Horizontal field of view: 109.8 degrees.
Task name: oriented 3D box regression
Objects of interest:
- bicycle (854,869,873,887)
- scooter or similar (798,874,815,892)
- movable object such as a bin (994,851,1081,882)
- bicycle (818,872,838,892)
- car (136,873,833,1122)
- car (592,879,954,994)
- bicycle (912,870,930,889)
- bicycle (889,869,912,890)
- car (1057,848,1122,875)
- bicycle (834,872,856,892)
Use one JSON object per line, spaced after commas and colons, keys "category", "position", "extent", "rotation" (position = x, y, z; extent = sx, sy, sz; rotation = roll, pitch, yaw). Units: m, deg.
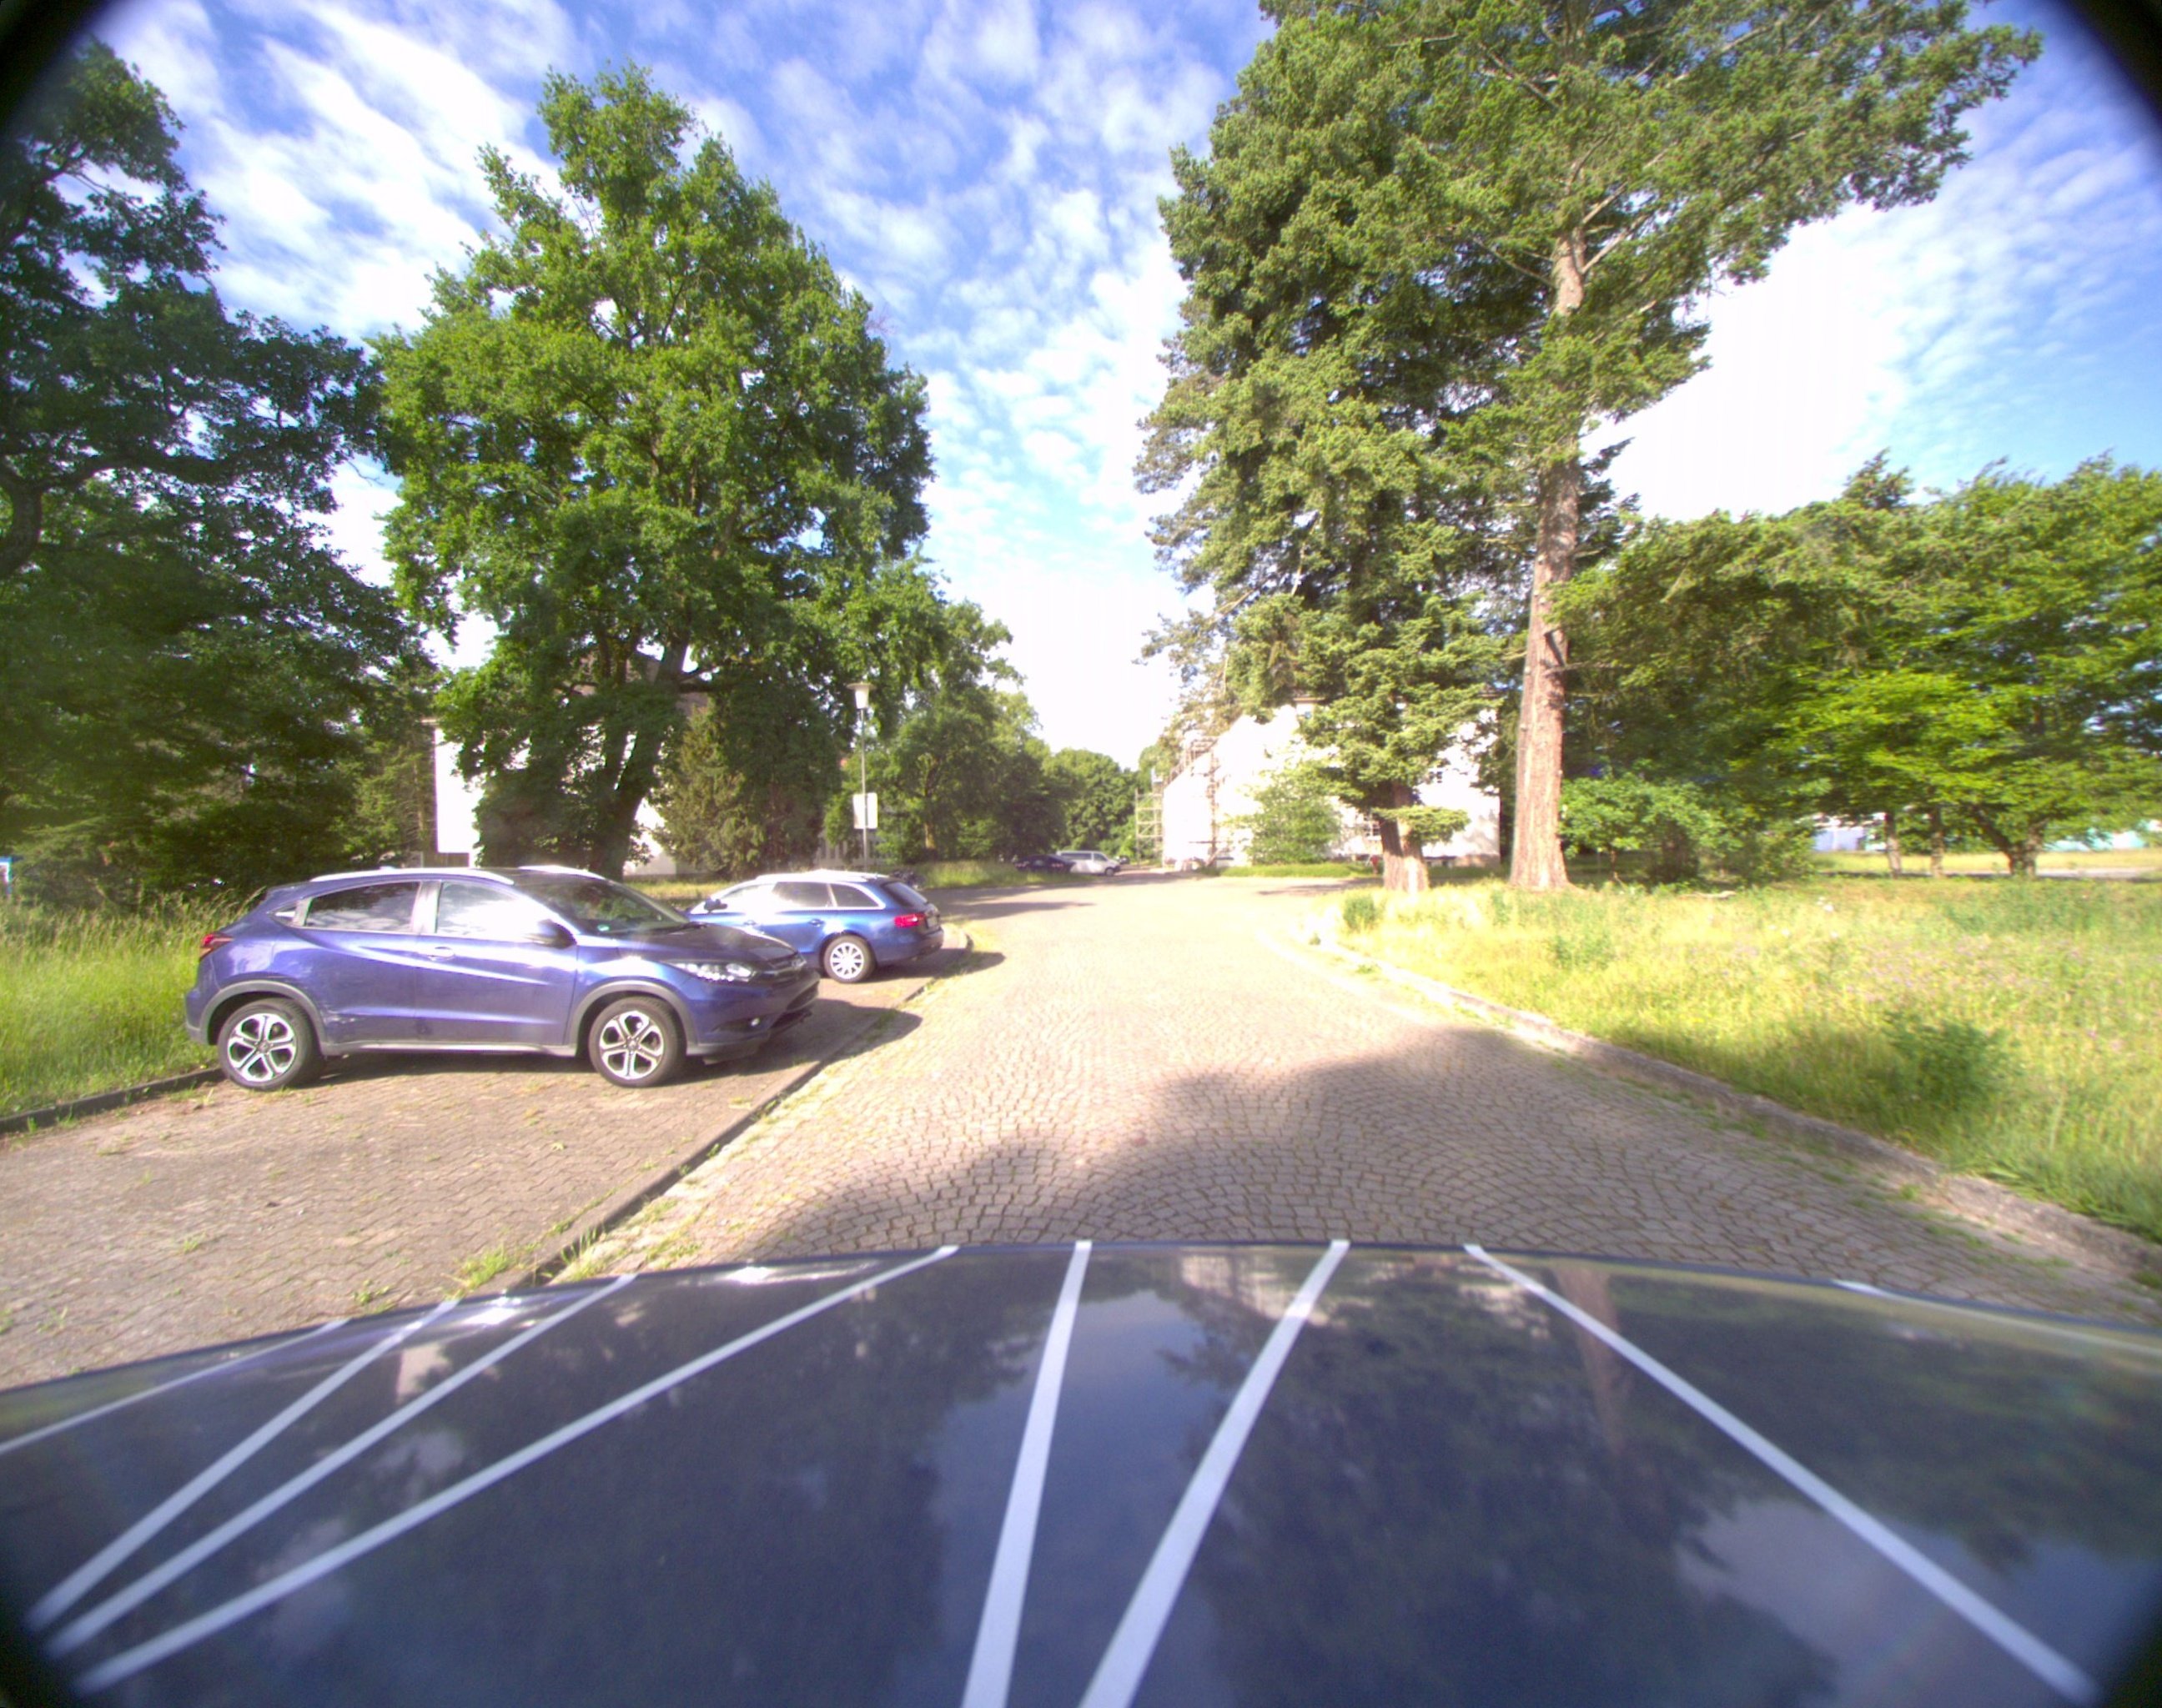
{"category": "bicycle", "position": [-12.699, 1.373, 44.362], "extent": [0.712, 1.010, 1.024], "rotation": [-2, 1, -36]}
{"category": "scooter or similar", "position": [-14.141, 1.489, 39.191], "extent": [0.769, 0.924, 0.261], "rotation": [-1, 1, -5]}
{"category": "movable object such as a bin", "position": [-2.647, 0.744, 46.654], "extent": [4.931, 1.749, 2.002], "rotation": [-1, 0, 16]}
{"category": "bicycle", "position": [-13.264, 1.479, 39.878], "extent": [0.619, 1.010, 1.027], "rotation": [-1, 0, 4]}
{"category": "car", "position": [-4.404, 1.018, 6.110], "extent": [4.187, 1.581, 1.751], "rotation": [-1, 0, 1]}
{"category": "car", "position": [-4.207, 1.096, 10.797], "extent": [4.459, 1.399, 1.714], "rotation": [0, 0, 4]}
{"category": "bicycle", "position": [-8.395, 1.344, 39.895], "extent": [0.747, 0.929, 1.140], "rotation": [-1, 0, -2]}
{"category": "bicycle", "position": [-9.363, 1.316, 39.507], "extent": [0.710, 1.010, 1.257], "rotation": [-1, 0, 8]}
{"category": "car", "position": [0.697, 0.561, 59.531], "extent": [4.936, 2.002, 2.000], "rotation": [-1, 0, 1]}
{"category": "bicycle", "position": [-12.494, 1.454, 40.237], "extent": [0.710, 1.010, 1.028], "rotation": [-1, 0, 8]}
